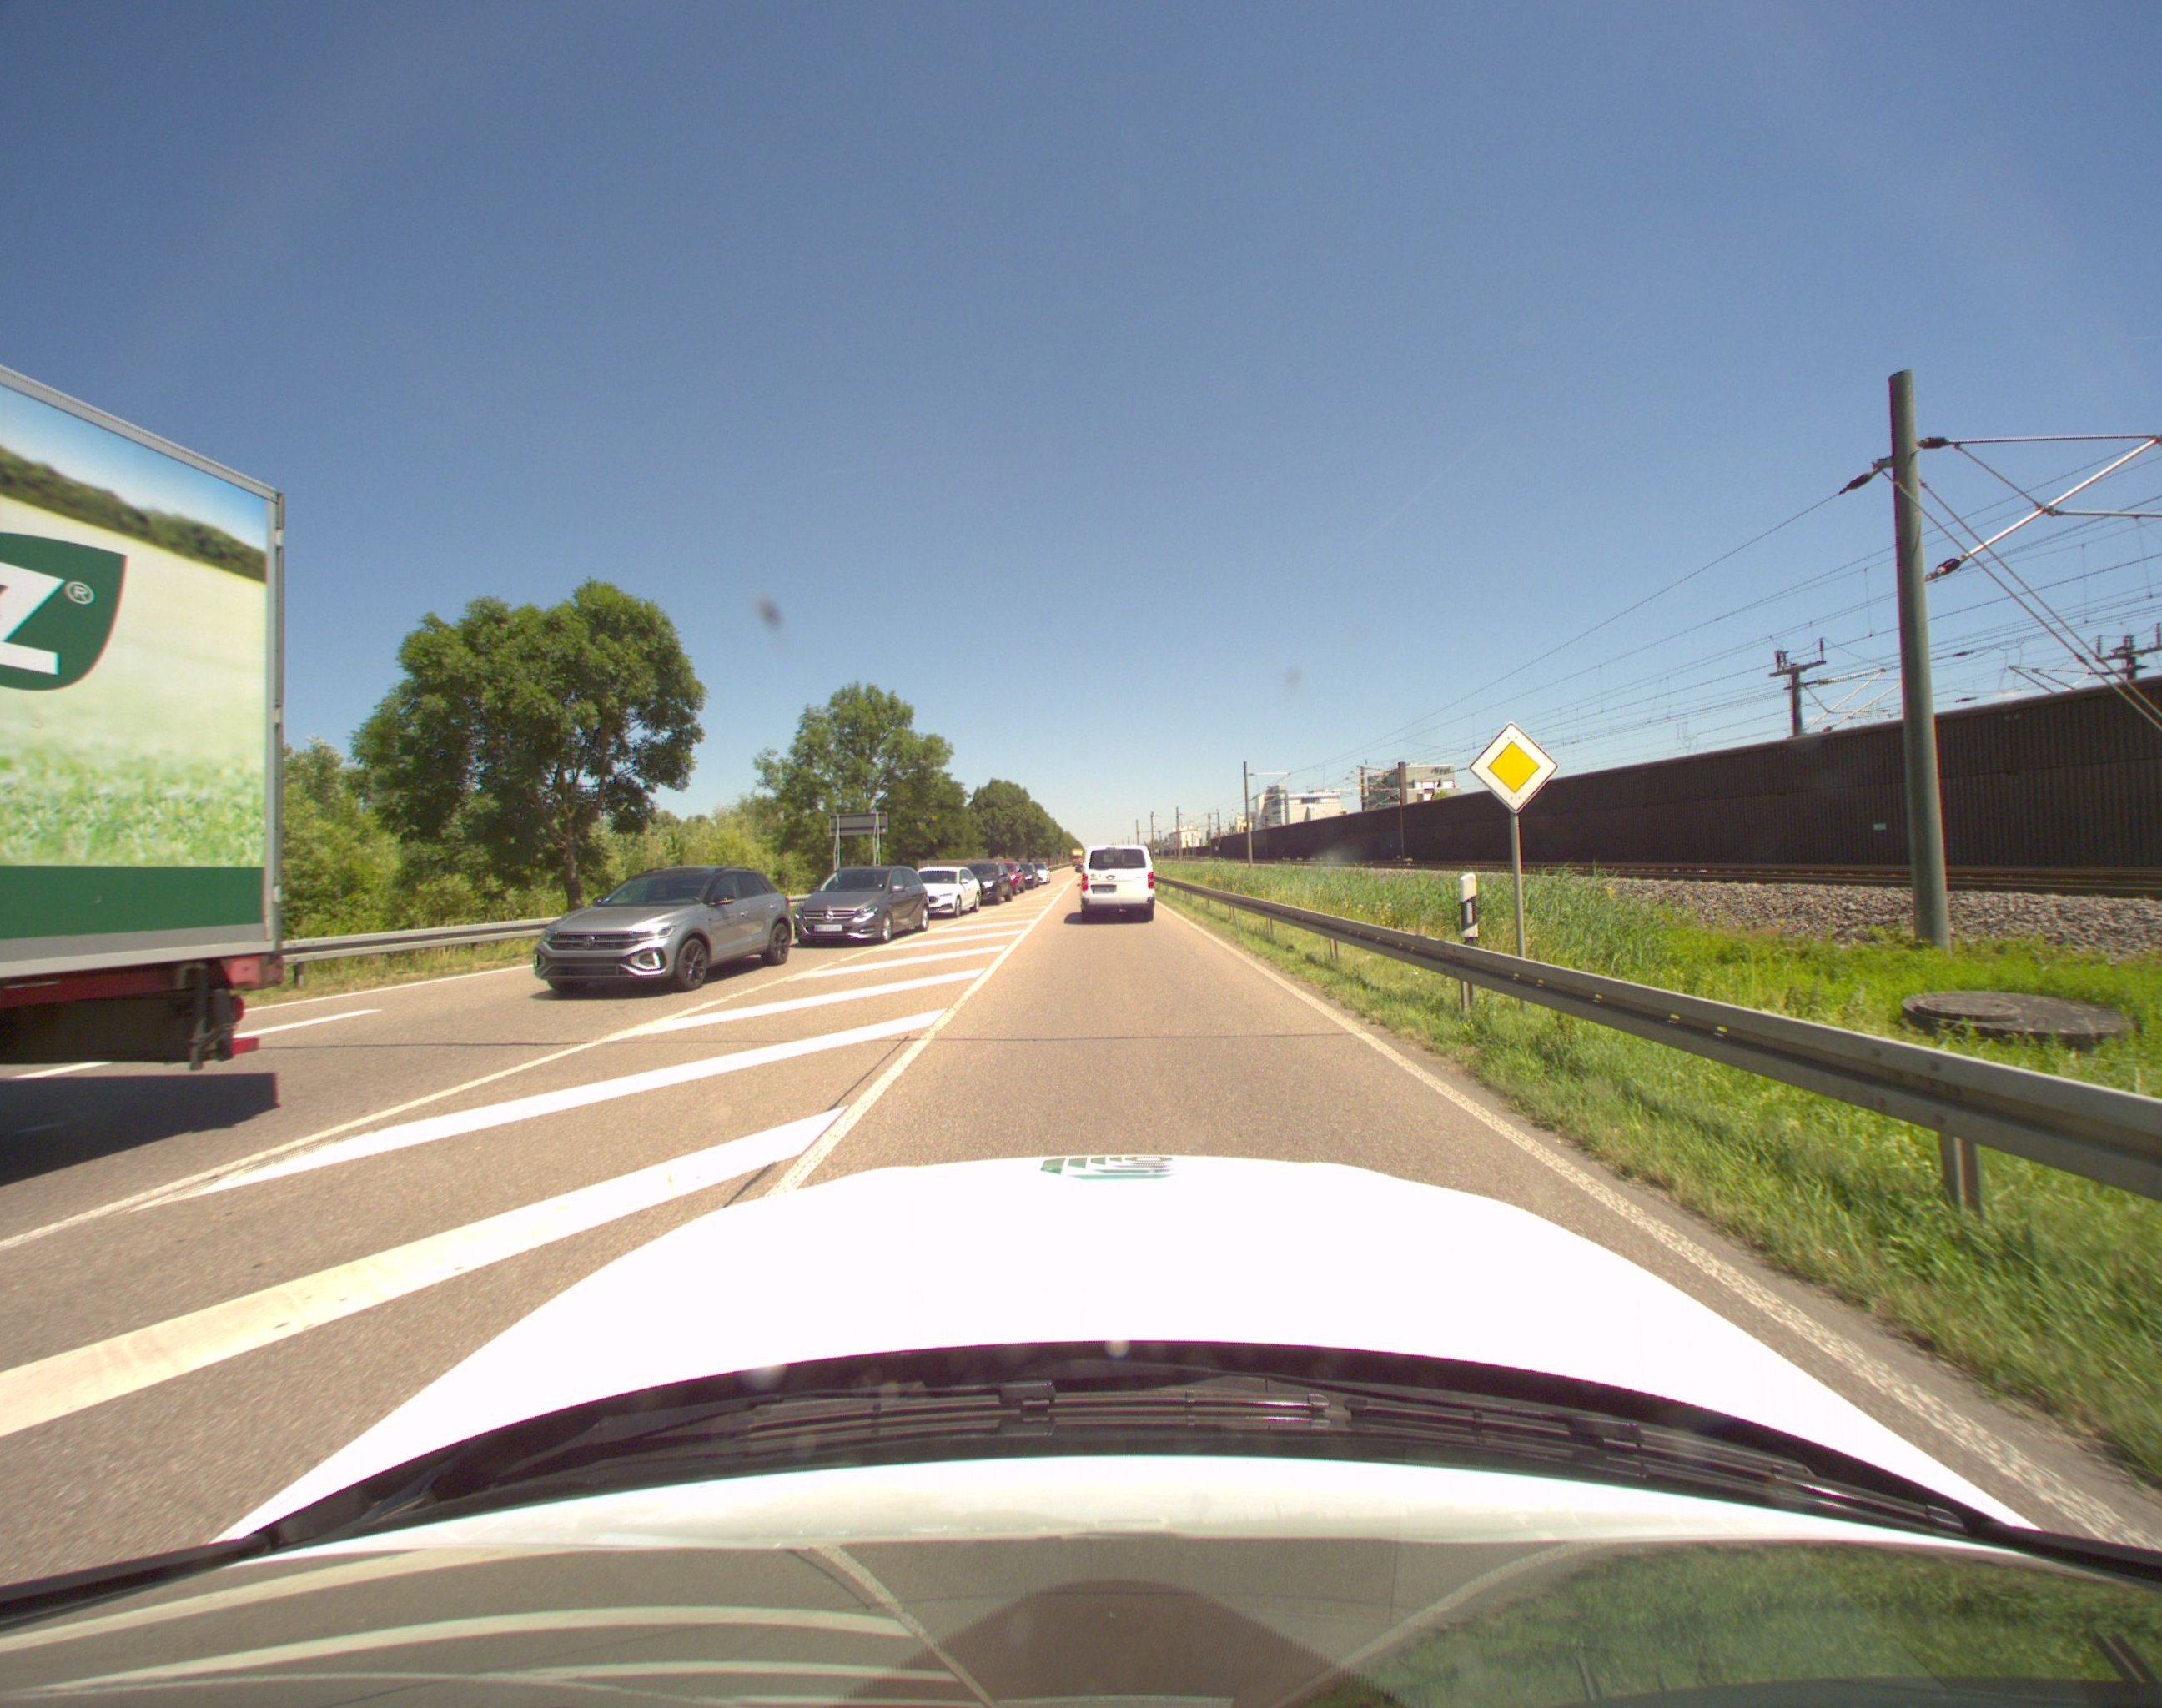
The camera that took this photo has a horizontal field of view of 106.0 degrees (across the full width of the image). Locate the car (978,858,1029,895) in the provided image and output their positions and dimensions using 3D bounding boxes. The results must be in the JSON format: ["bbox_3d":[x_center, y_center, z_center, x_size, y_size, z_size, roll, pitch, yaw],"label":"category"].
[{"bbox_3d":[-3.737,1.052,39.829,1.748,1.631,4.283,-1,0,4],"label":"car"}]

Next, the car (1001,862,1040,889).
[{"bbox_3d":[-3.411,1.195,46.936,1.679,1.460,4.619,-1,0,2],"label":"car"}]

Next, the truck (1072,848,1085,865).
[{"bbox_3d":[-0.533,0.659,192.202,2.782,3.840,9.324,-1,-1,1],"label":"truck"}]

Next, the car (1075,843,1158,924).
[{"bbox_3d":[0.887,0.734,21.927,1.939,1.881,4.881,-1,-1,1],"label":"car"}]

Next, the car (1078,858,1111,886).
[{"bbox_3d":[0.802,1.096,50.819,1.900,1.649,4.140,-1,0,-1],"label":"car"}]

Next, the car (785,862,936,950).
[{"bbox_3d":[-4.486,0.983,17.300,1.616,1.538,4.390,-2,0,5],"label":"car"}]

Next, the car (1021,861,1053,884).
[{"bbox_3d":[-2.906,1.190,54.477,1.679,1.460,4.619,-1,0,2],"label":"car"}]

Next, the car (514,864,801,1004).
[{"bbox_3d":[-5.647,0.954,11.548,1.705,1.562,4.157,-2,0,3],"label":"car"}]

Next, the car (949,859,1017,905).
[{"bbox_3d":[-3.685,1.034,31.403,1.709,1.589,4.540,-1,0,4],"label":"car"}]

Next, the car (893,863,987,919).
[{"bbox_3d":[-4.142,1.044,24.678,1.645,1.479,4.636,-1,0,5],"label":"car"}]
